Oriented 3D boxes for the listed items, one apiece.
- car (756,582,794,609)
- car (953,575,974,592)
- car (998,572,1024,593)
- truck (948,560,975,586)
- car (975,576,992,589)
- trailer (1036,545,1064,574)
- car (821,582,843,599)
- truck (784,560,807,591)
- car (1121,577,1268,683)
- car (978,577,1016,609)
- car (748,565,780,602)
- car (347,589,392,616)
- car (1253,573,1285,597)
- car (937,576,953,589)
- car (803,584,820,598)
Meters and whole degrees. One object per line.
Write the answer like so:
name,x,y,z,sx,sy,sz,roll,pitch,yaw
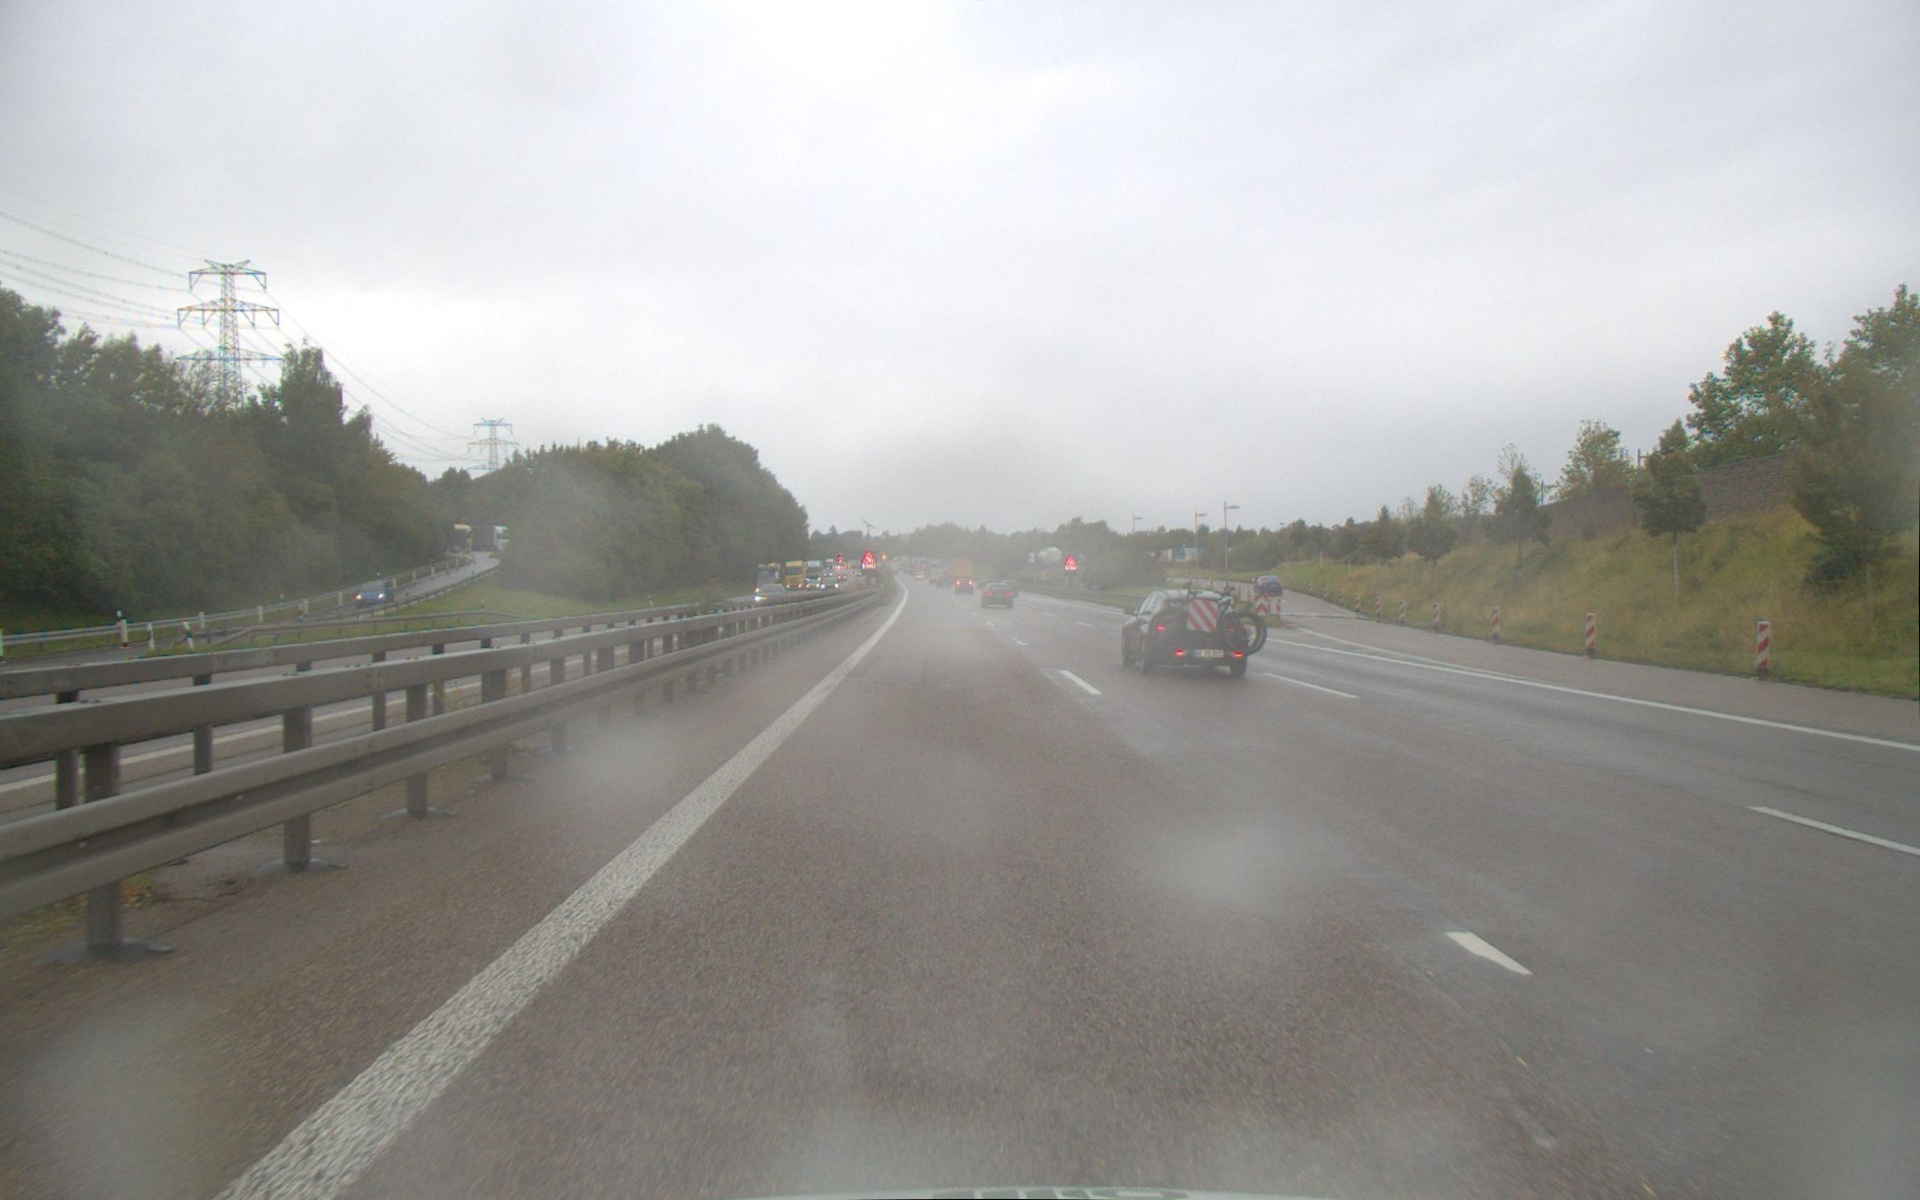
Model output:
car,-11.151,-0.320,100.056,1.785,1.538,4.789,-2,1,-1
car,0.346,-1.641,164.775,1.953,1.657,3.999,-1,1,-2
car,4.622,-1.615,149.642,1.954,1.791,3.999,3,1,-2
truck,0.167,-4.385,265.536,3.845,4.050,12.235,-1,1,-2
car,3.120,-2.304,218.353,1.953,1.657,3.999,-1,1,-2
trailer,13.730,-6.102,252.780,2.925,4.228,12.951,-1,1,-2
car,-13.255,-0.970,171.388,1.885,1.685,4.789,-2,1,-1
truck,-23.260,-3.463,234.293,2.706,4.125,6.155,-2,1,-2
car,4.043,0.484,29.384,2.015,1.700,5.523,0,0,2
car,2.158,-0.449,96.986,1.953,1.791,3.999,-1,1,-2
car,-18.451,-1.555,155.940,2.208,3.385,6.174,-2,1,-1
car,-36.106,0.162,101.276,1.932,1.570,3.990,-1,1,-11
car,23.084,-1.125,123.733,1.882,1.739,4.003,-1,1,4
car,-2.002,-2.326,215.390,1.953,1.657,3.999,-1,1,-2
car,-18.870,-1.141,210.767,1.837,1.631,4.513,-2,1,-2
